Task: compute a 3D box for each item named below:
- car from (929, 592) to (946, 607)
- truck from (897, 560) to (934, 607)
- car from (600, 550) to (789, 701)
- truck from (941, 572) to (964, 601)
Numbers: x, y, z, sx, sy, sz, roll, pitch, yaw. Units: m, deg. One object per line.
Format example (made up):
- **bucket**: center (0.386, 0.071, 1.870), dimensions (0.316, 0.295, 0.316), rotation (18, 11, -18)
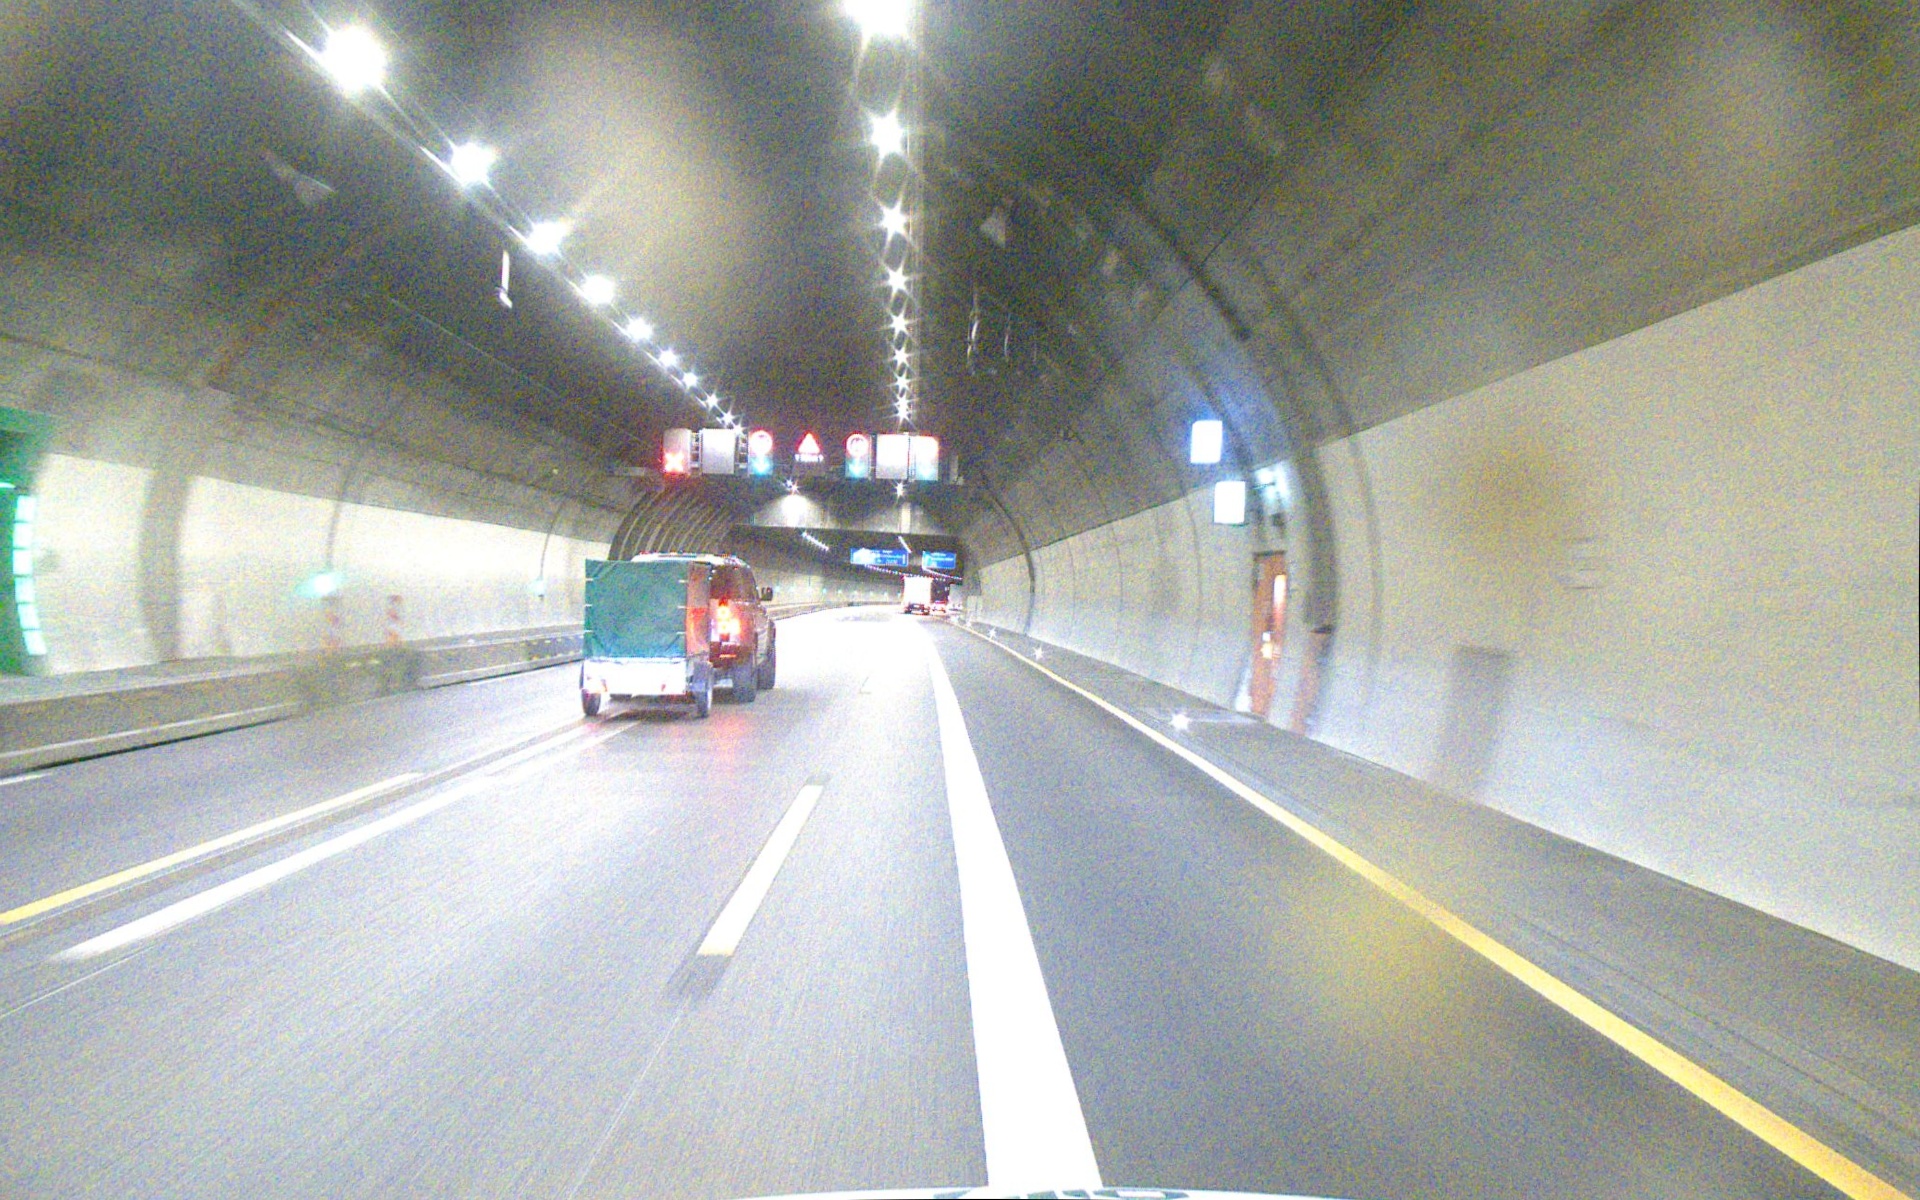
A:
- **car**: center (-2.964, -0.070, 222.201), dimensions (1.952, 1.928, 5.534), rotation (0, 0, 3)
- **truck**: center (-4.403, -1.616, 161.782), dimensions (3.404, 4.391, 10.947), rotation (1, 1, -2)
- **car**: center (-3.676, 0.299, 23.865), dimensions (1.953, 1.928, 5.452), rotation (0, 1, -1)
- **truck**: center (-1.223, -2.180, 261.061), dimensions (3.404, 4.391, 10.948), rotation (0, 1, -2)
